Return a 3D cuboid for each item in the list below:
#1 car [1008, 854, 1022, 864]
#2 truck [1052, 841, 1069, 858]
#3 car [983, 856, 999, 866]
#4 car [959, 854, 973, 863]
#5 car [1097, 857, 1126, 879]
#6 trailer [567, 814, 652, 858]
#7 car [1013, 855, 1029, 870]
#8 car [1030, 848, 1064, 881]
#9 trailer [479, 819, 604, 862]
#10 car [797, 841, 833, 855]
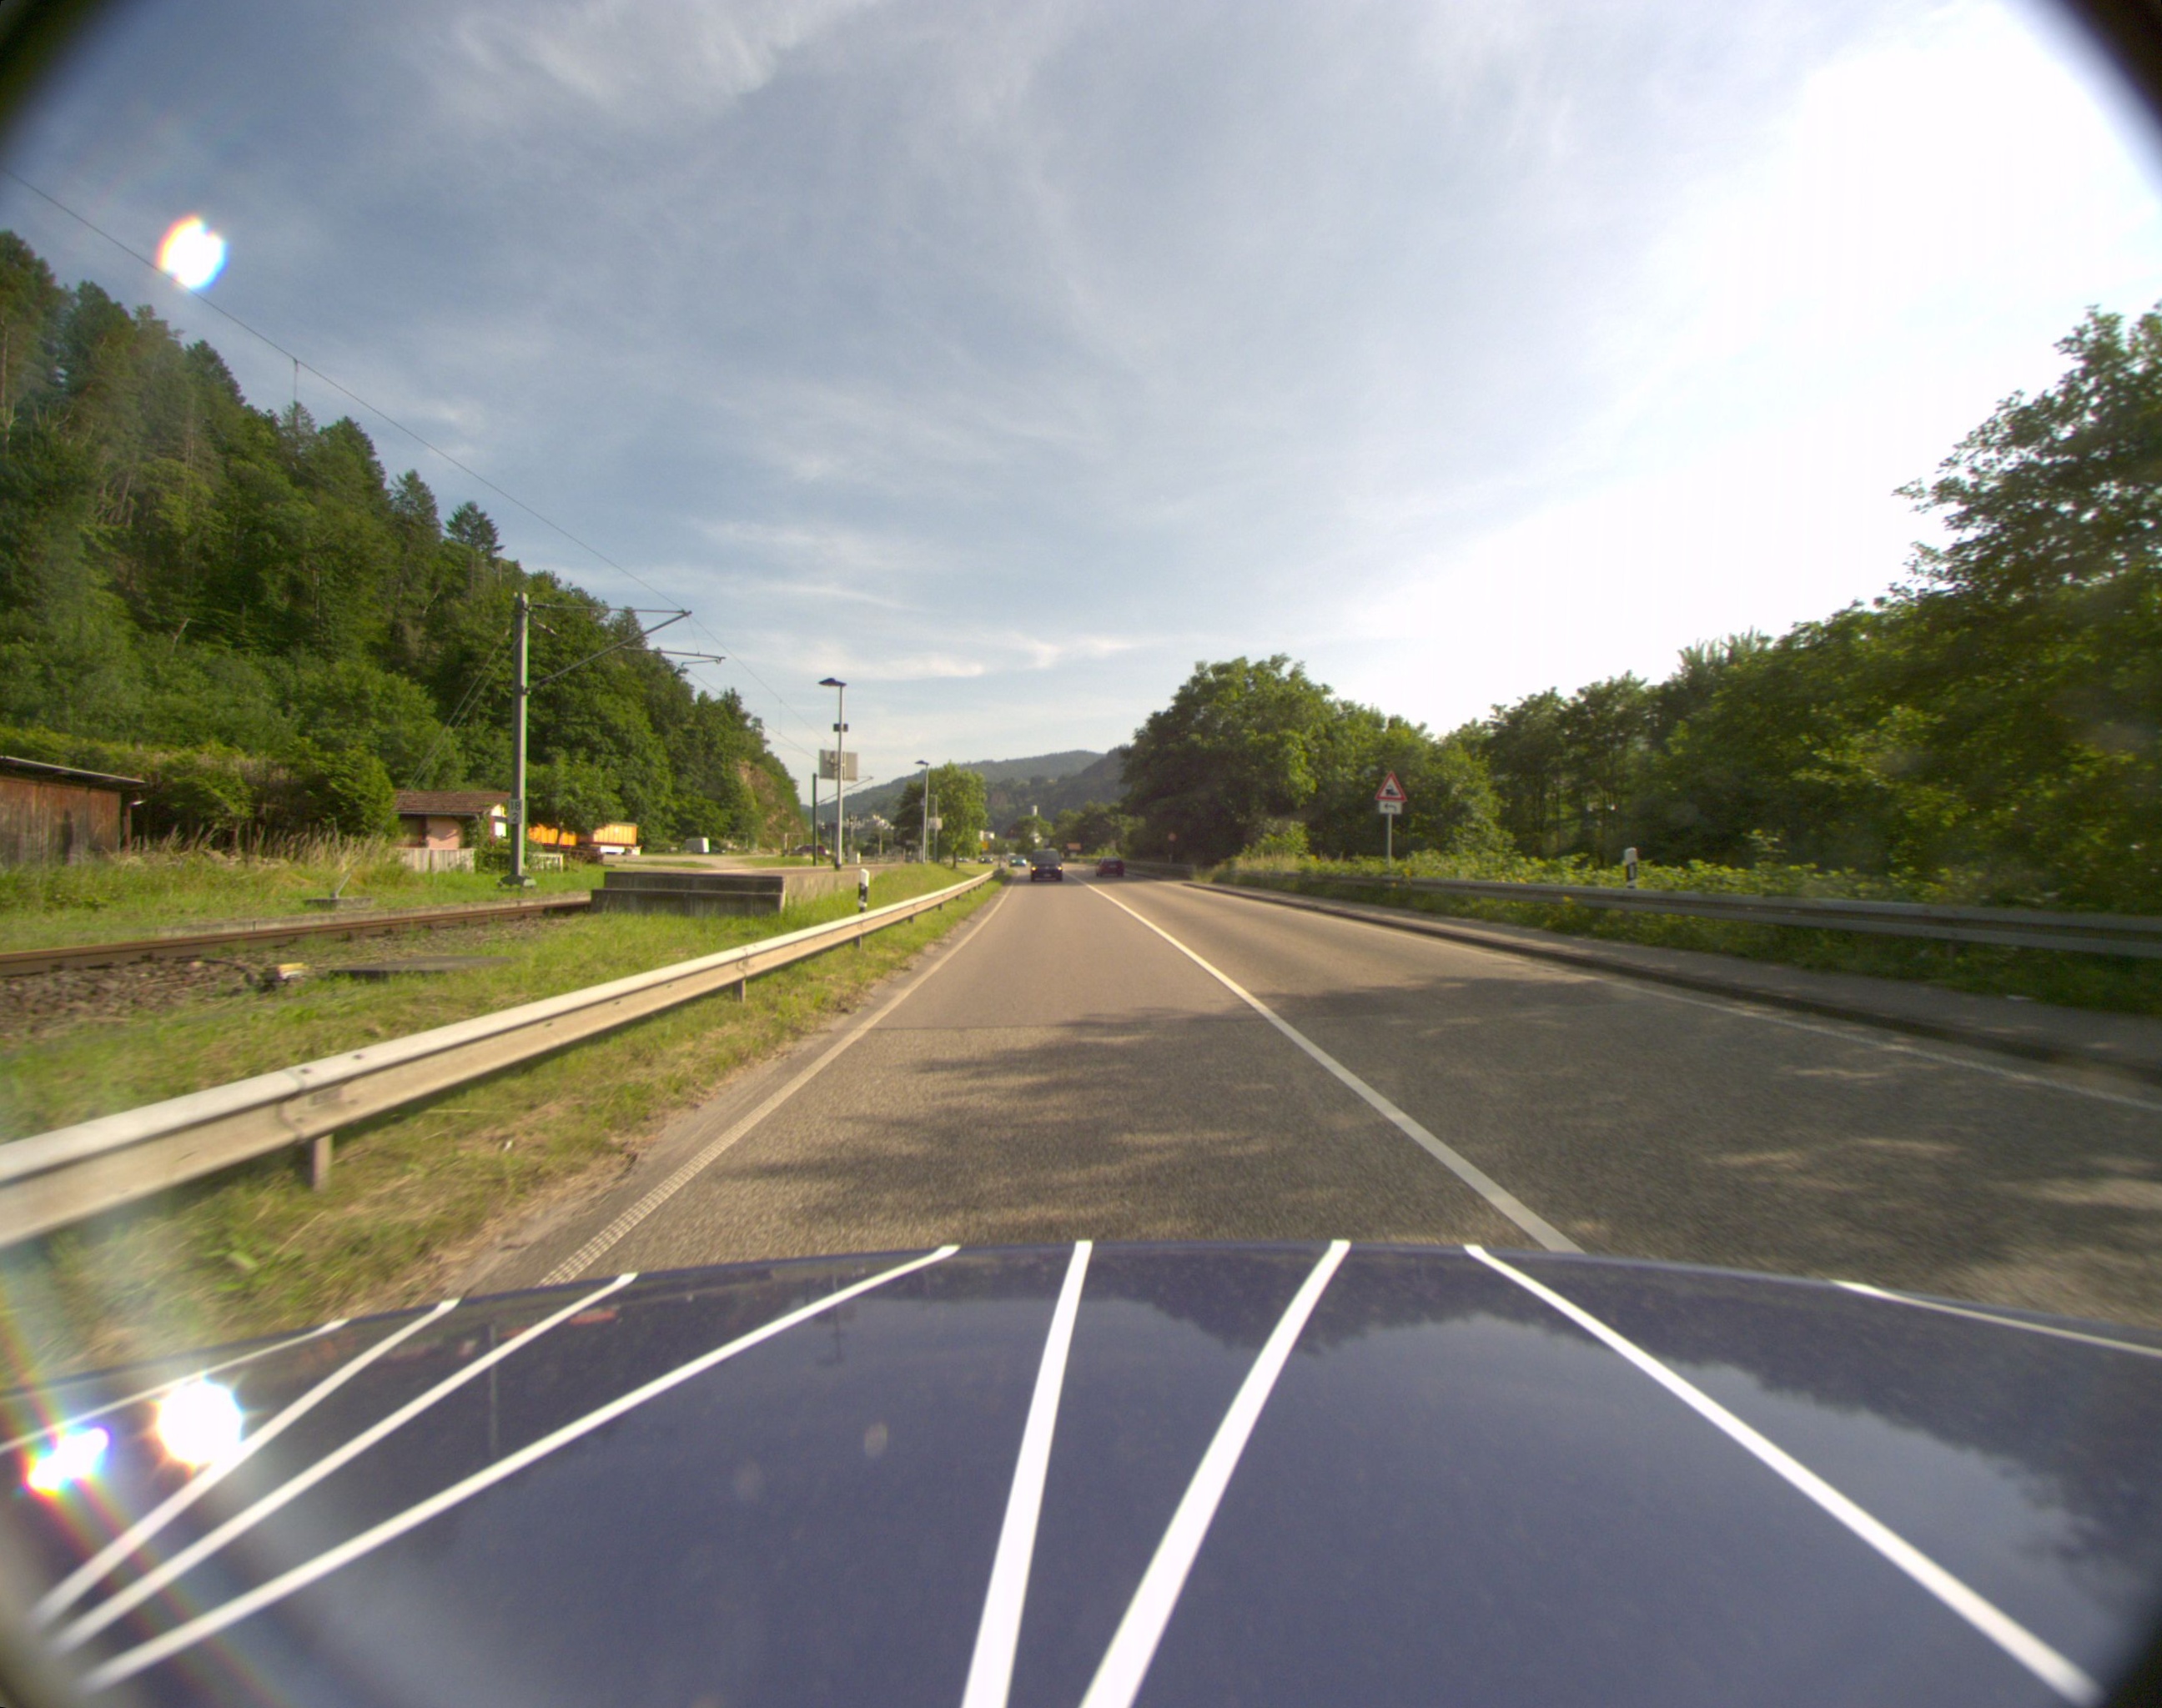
[{"bbox_3d":[-11.948,0.911,137.918,1.887,1.735,4.174,-1,-1,-14],"label":"car"},{"bbox_3d":[-2.952,-0.620,107.202,1.886,2.272,4.717,-1,0,-7],"label":"truck"},{"bbox_3d":[-15.123,1.191,127.322,1.888,1.735,4.173,0,0,-16],"label":"car"},{"bbox_3d":[-22.416,0.950,147.832,1.888,1.735,4.171,0,0,-21],"label":"car"},{"bbox_3d":[2.107,0.975,53.659,1.638,1.341,4.107,-2,1,-3],"label":"car"},{"bbox_3d":[-51.393,-1.933,83.206,2.734,4.456,9.215,-2,1,5],"label":"trailer"},{"bbox_3d":[-7.717,1.045,97.370,1.885,1.735,4.177,-1,1,-3],"label":"car"},{"bbox_3d":[-2.118,0.592,47.320,2.019,1.905,4.310,-1,1,-2],"label":"car"},{"bbox_3d":[-41.501,-1.022,58.953,2.735,3.007,9.213,-2,1,2],"label":"trailer"},{"bbox_3d":[-41.445,-0.908,118.493,4.977,2.002,1.997,-2,1,-14],"label":"car"}]
